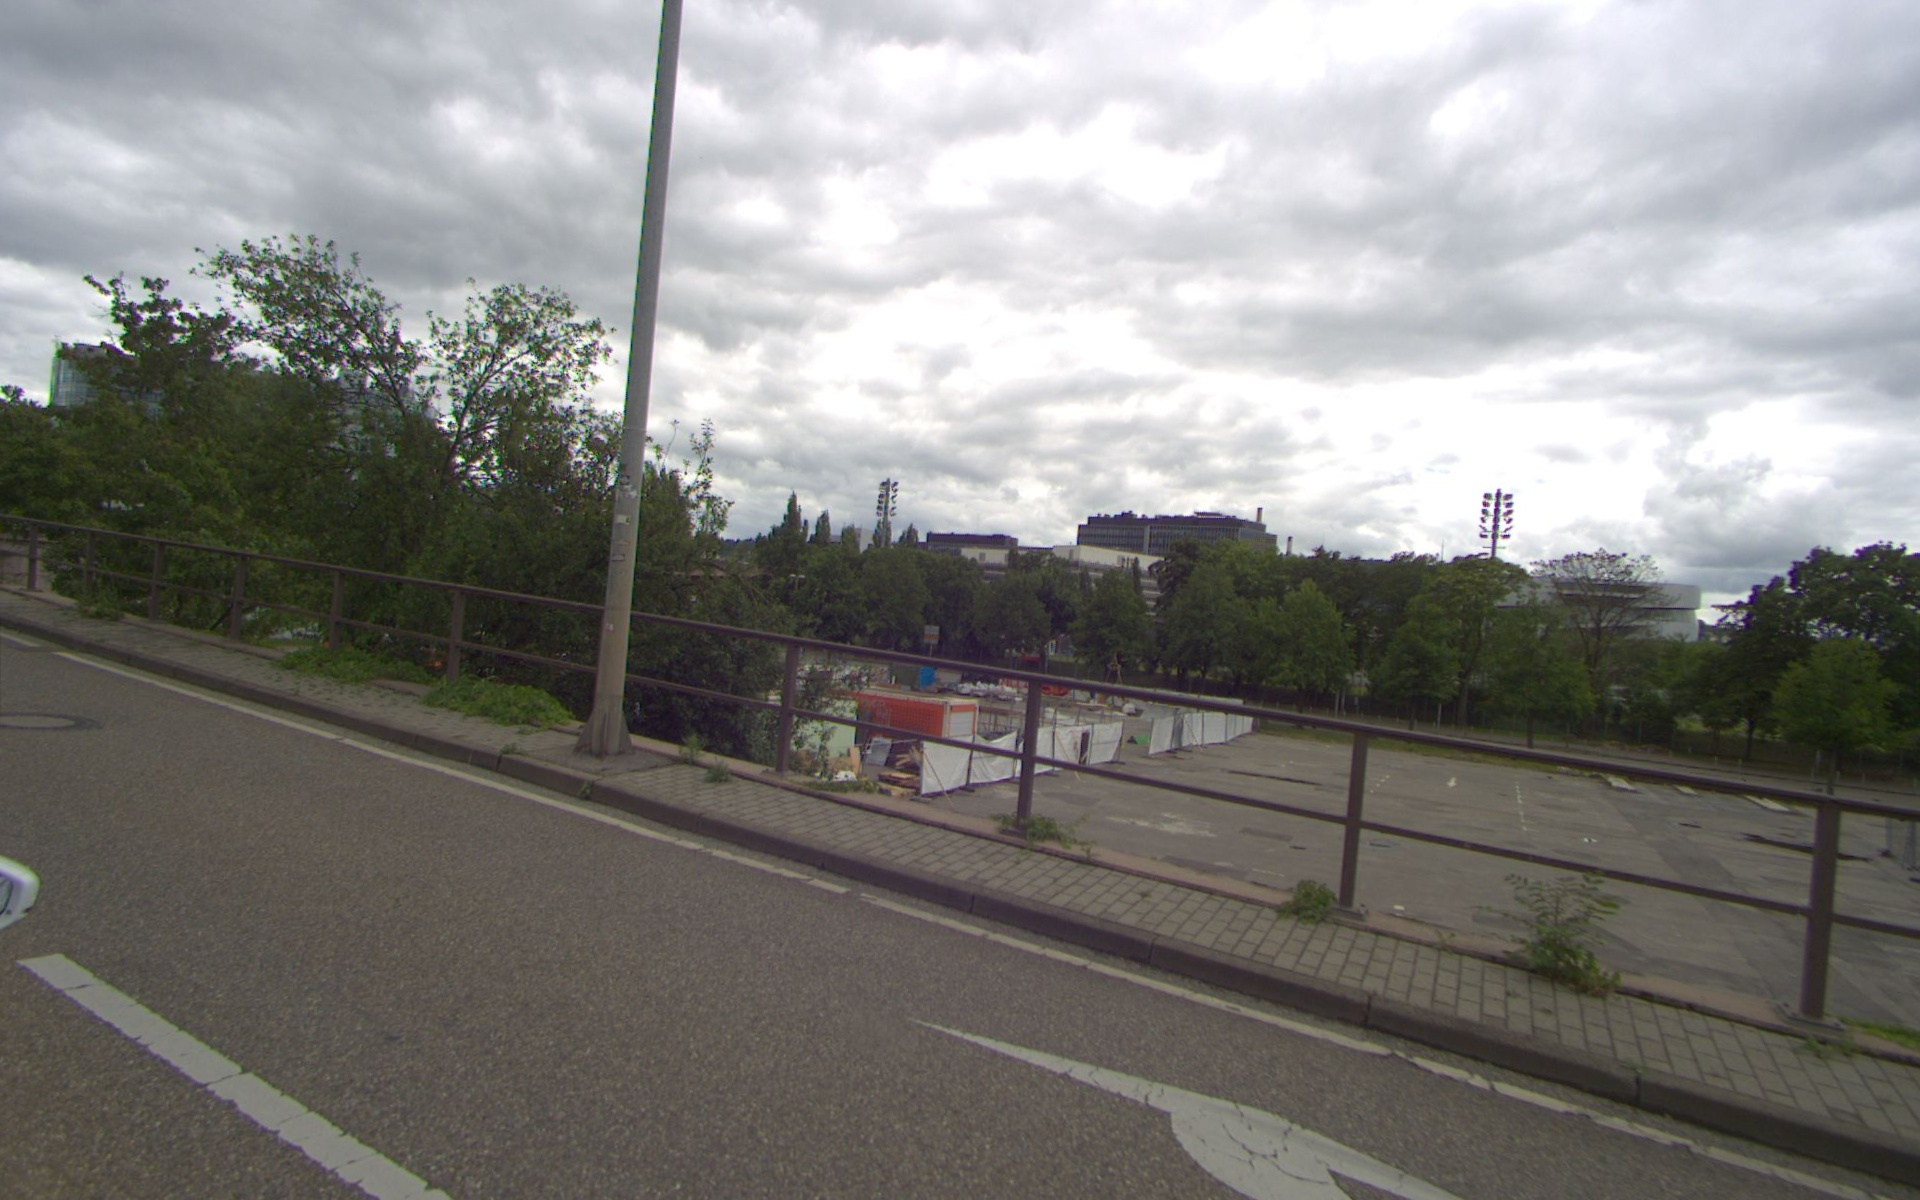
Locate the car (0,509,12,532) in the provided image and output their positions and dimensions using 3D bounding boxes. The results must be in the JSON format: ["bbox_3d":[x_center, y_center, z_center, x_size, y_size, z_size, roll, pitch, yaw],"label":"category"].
[{"bbox_3d":[-72.266,-6.046,73.257,1.970,1.589,4.371,4,-2,36],"label":"car"}]
